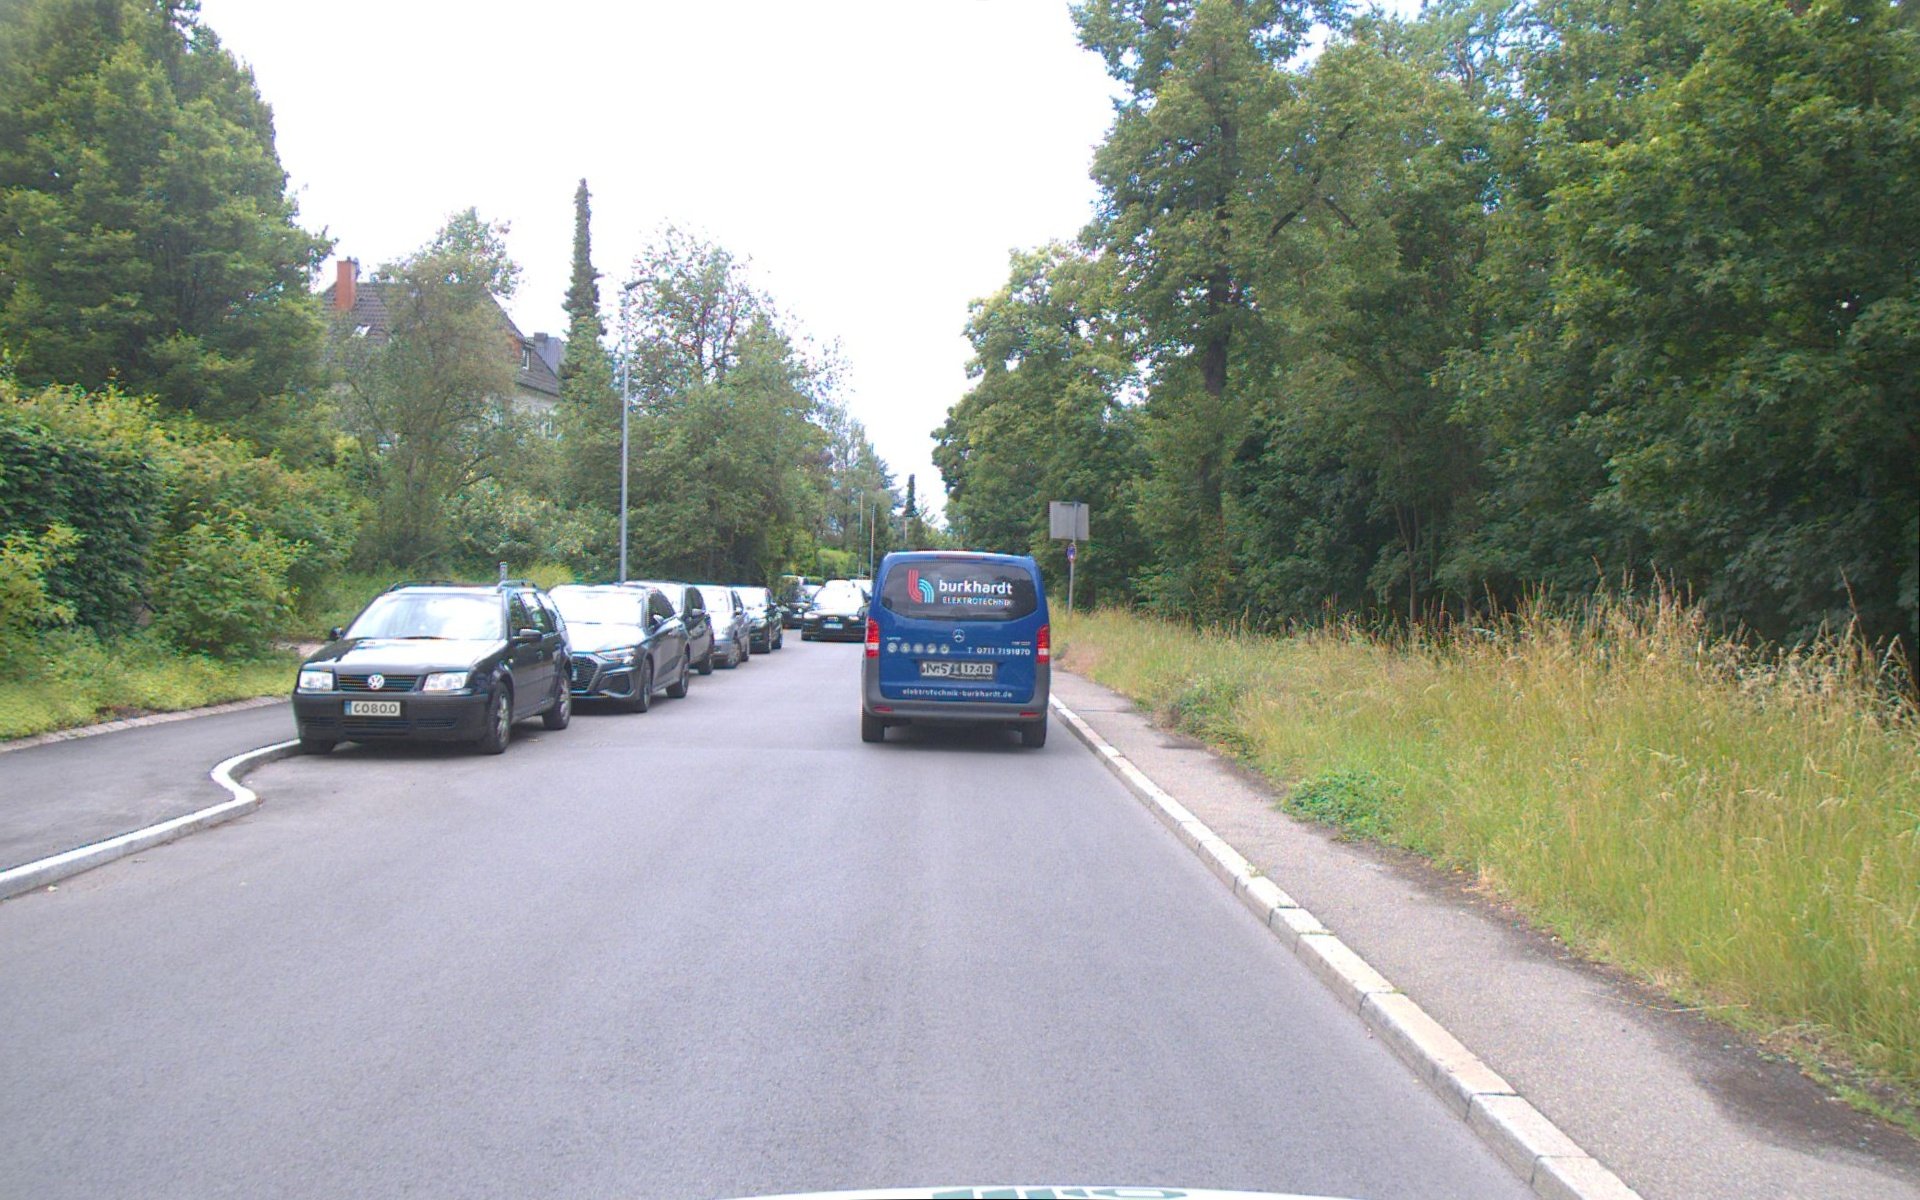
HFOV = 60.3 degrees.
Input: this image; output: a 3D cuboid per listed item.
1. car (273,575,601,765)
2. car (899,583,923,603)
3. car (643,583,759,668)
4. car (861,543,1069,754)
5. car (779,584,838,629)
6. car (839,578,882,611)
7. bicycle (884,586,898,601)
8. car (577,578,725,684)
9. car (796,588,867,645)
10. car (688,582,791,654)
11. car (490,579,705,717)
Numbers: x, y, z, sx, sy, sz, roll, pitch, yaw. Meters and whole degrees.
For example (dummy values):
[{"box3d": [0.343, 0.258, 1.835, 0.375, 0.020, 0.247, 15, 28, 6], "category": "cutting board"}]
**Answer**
[{"box3d": [-4.688, 0.541, 15.566, 1.648, 1.508, 4.692, 1, 0, -1], "category": "car"}, {"box3d": [-4.358, -0.614, 147.514, 1.798, 1.659, 4.302, 3, 0, 3], "category": "car"}, {"box3d": [-4.727, 0.421, 30.652, 1.591, 1.457, 4.350, 1, 0, -2], "category": "car"}, {"box3d": [-0.056, 0.382, 17.367, 1.851, 1.876, 3.998, 3, 2, -3], "category": "car"}, {"box3d": [-5.220, 0.212, 57.353, 1.589, 1.475, 3.969, 1, 0, 1], "category": "car"}, {"box3d": [-5.734, -0.311, 96.246, 1.933, 1.767, 5.191, 3, 0, 2], "category": "car"}, {"box3d": [-6.027, -0.584, 144.633, 0.887, 1.273, 2.917, 4, 0, 3], "category": "bicycle"}, {"box3d": [-4.723, 0.431, 25.758, 1.591, 1.508, 3.999, 1, 0, -1], "category": "car"}, {"box3d": [-3.537, 0.415, 46.127, 1.744, 1.451, 4.488, 2, 0, -2], "category": "car"}, {"box3d": [-4.865, 0.358, 37.139, 1.742, 1.457, 5.103, 2, 0, -2], "category": "car"}, {"box3d": [-4.354, 0.510, 20.543, 1.671, 1.508, 4.495, 1, 0, 0], "category": "car"}]
